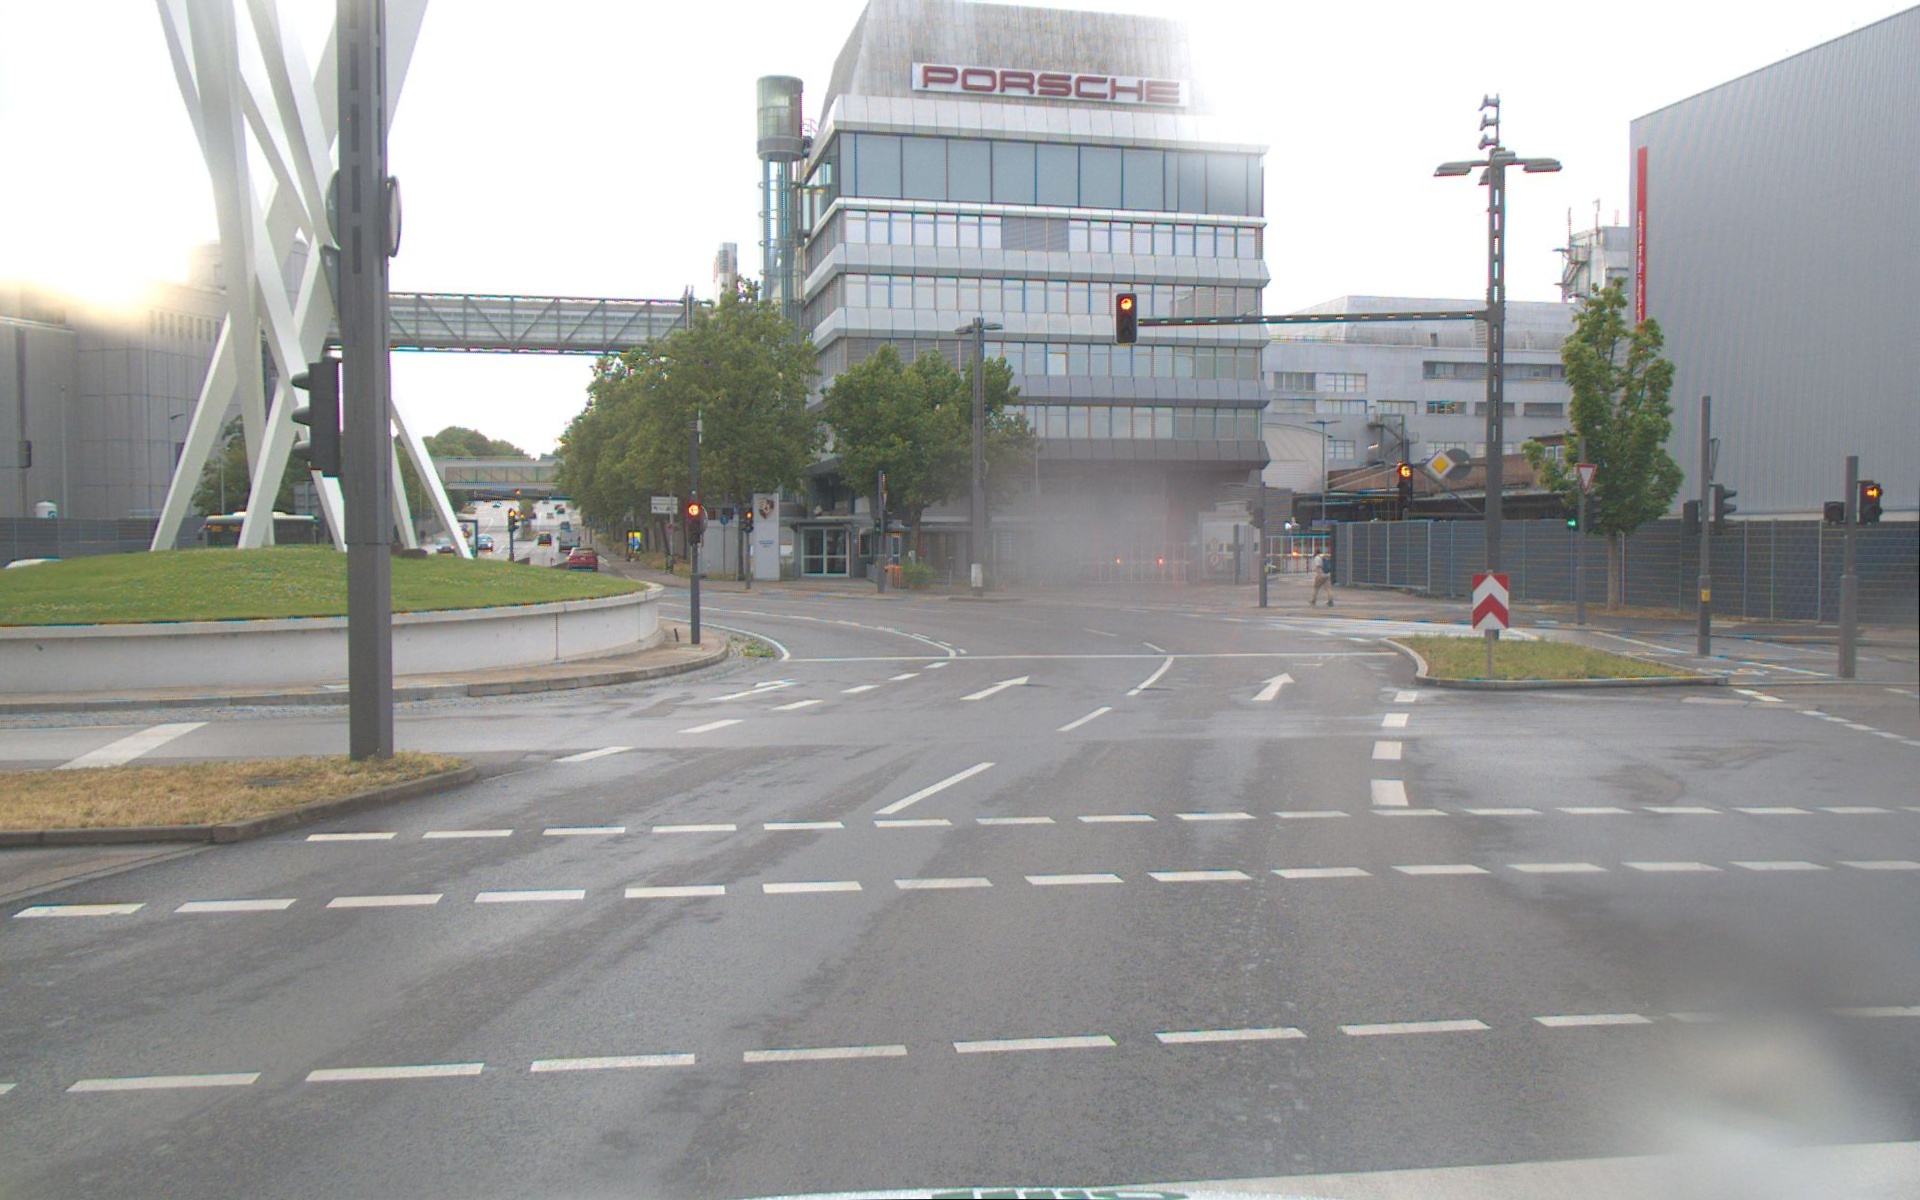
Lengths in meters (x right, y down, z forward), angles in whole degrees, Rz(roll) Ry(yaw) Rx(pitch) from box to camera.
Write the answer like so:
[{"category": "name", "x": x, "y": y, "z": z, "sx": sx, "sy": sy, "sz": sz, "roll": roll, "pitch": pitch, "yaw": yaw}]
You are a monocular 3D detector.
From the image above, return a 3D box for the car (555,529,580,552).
[{"category": "car", "x": -40.191, "y": -6.073, "z": 169.310, "sx": 2.196, "sy": 2.145, "sz": 4.932, "roll": 0, "pitch": -1, "yaw": -16}]

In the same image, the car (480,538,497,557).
[{"category": "car", "x": -48.008, "y": -5.326, "z": 168.528, "sx": 1.600, "sy": 1.848, "sz": 3.718, "roll": 0, "pitch": 1, "yaw": -15}]

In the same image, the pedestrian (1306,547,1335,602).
[{"category": "pedestrian", "x": 10.829, "y": -0.757, "z": 49.617, "sx": 0.791, "sy": 1.639, "sz": 0.770, "roll": -1, "pitch": -1, "yaw": 16}]

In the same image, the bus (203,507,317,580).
[{"category": "bus", "x": -33.869, "y": -2.607, "z": 80.528, "sx": 2.621, "sy": 3.257, "sz": 12.634, "roll": 0, "pitch": 1, "yaw": -11}]

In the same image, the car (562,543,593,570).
[{"category": "car", "x": -22.669, "y": -2.576, "z": 98.098, "sx": 1.742, "sy": 1.490, "sz": 3.720, "roll": 0, "pitch": 0, "yaw": -13}]

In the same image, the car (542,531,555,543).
[{"category": "car", "x": -50.542, "y": -7.740, "z": 203.173, "sx": 1.531, "sy": 1.311, "sz": 3.400, "roll": 0, "pitch": 0, "yaw": -15}]
